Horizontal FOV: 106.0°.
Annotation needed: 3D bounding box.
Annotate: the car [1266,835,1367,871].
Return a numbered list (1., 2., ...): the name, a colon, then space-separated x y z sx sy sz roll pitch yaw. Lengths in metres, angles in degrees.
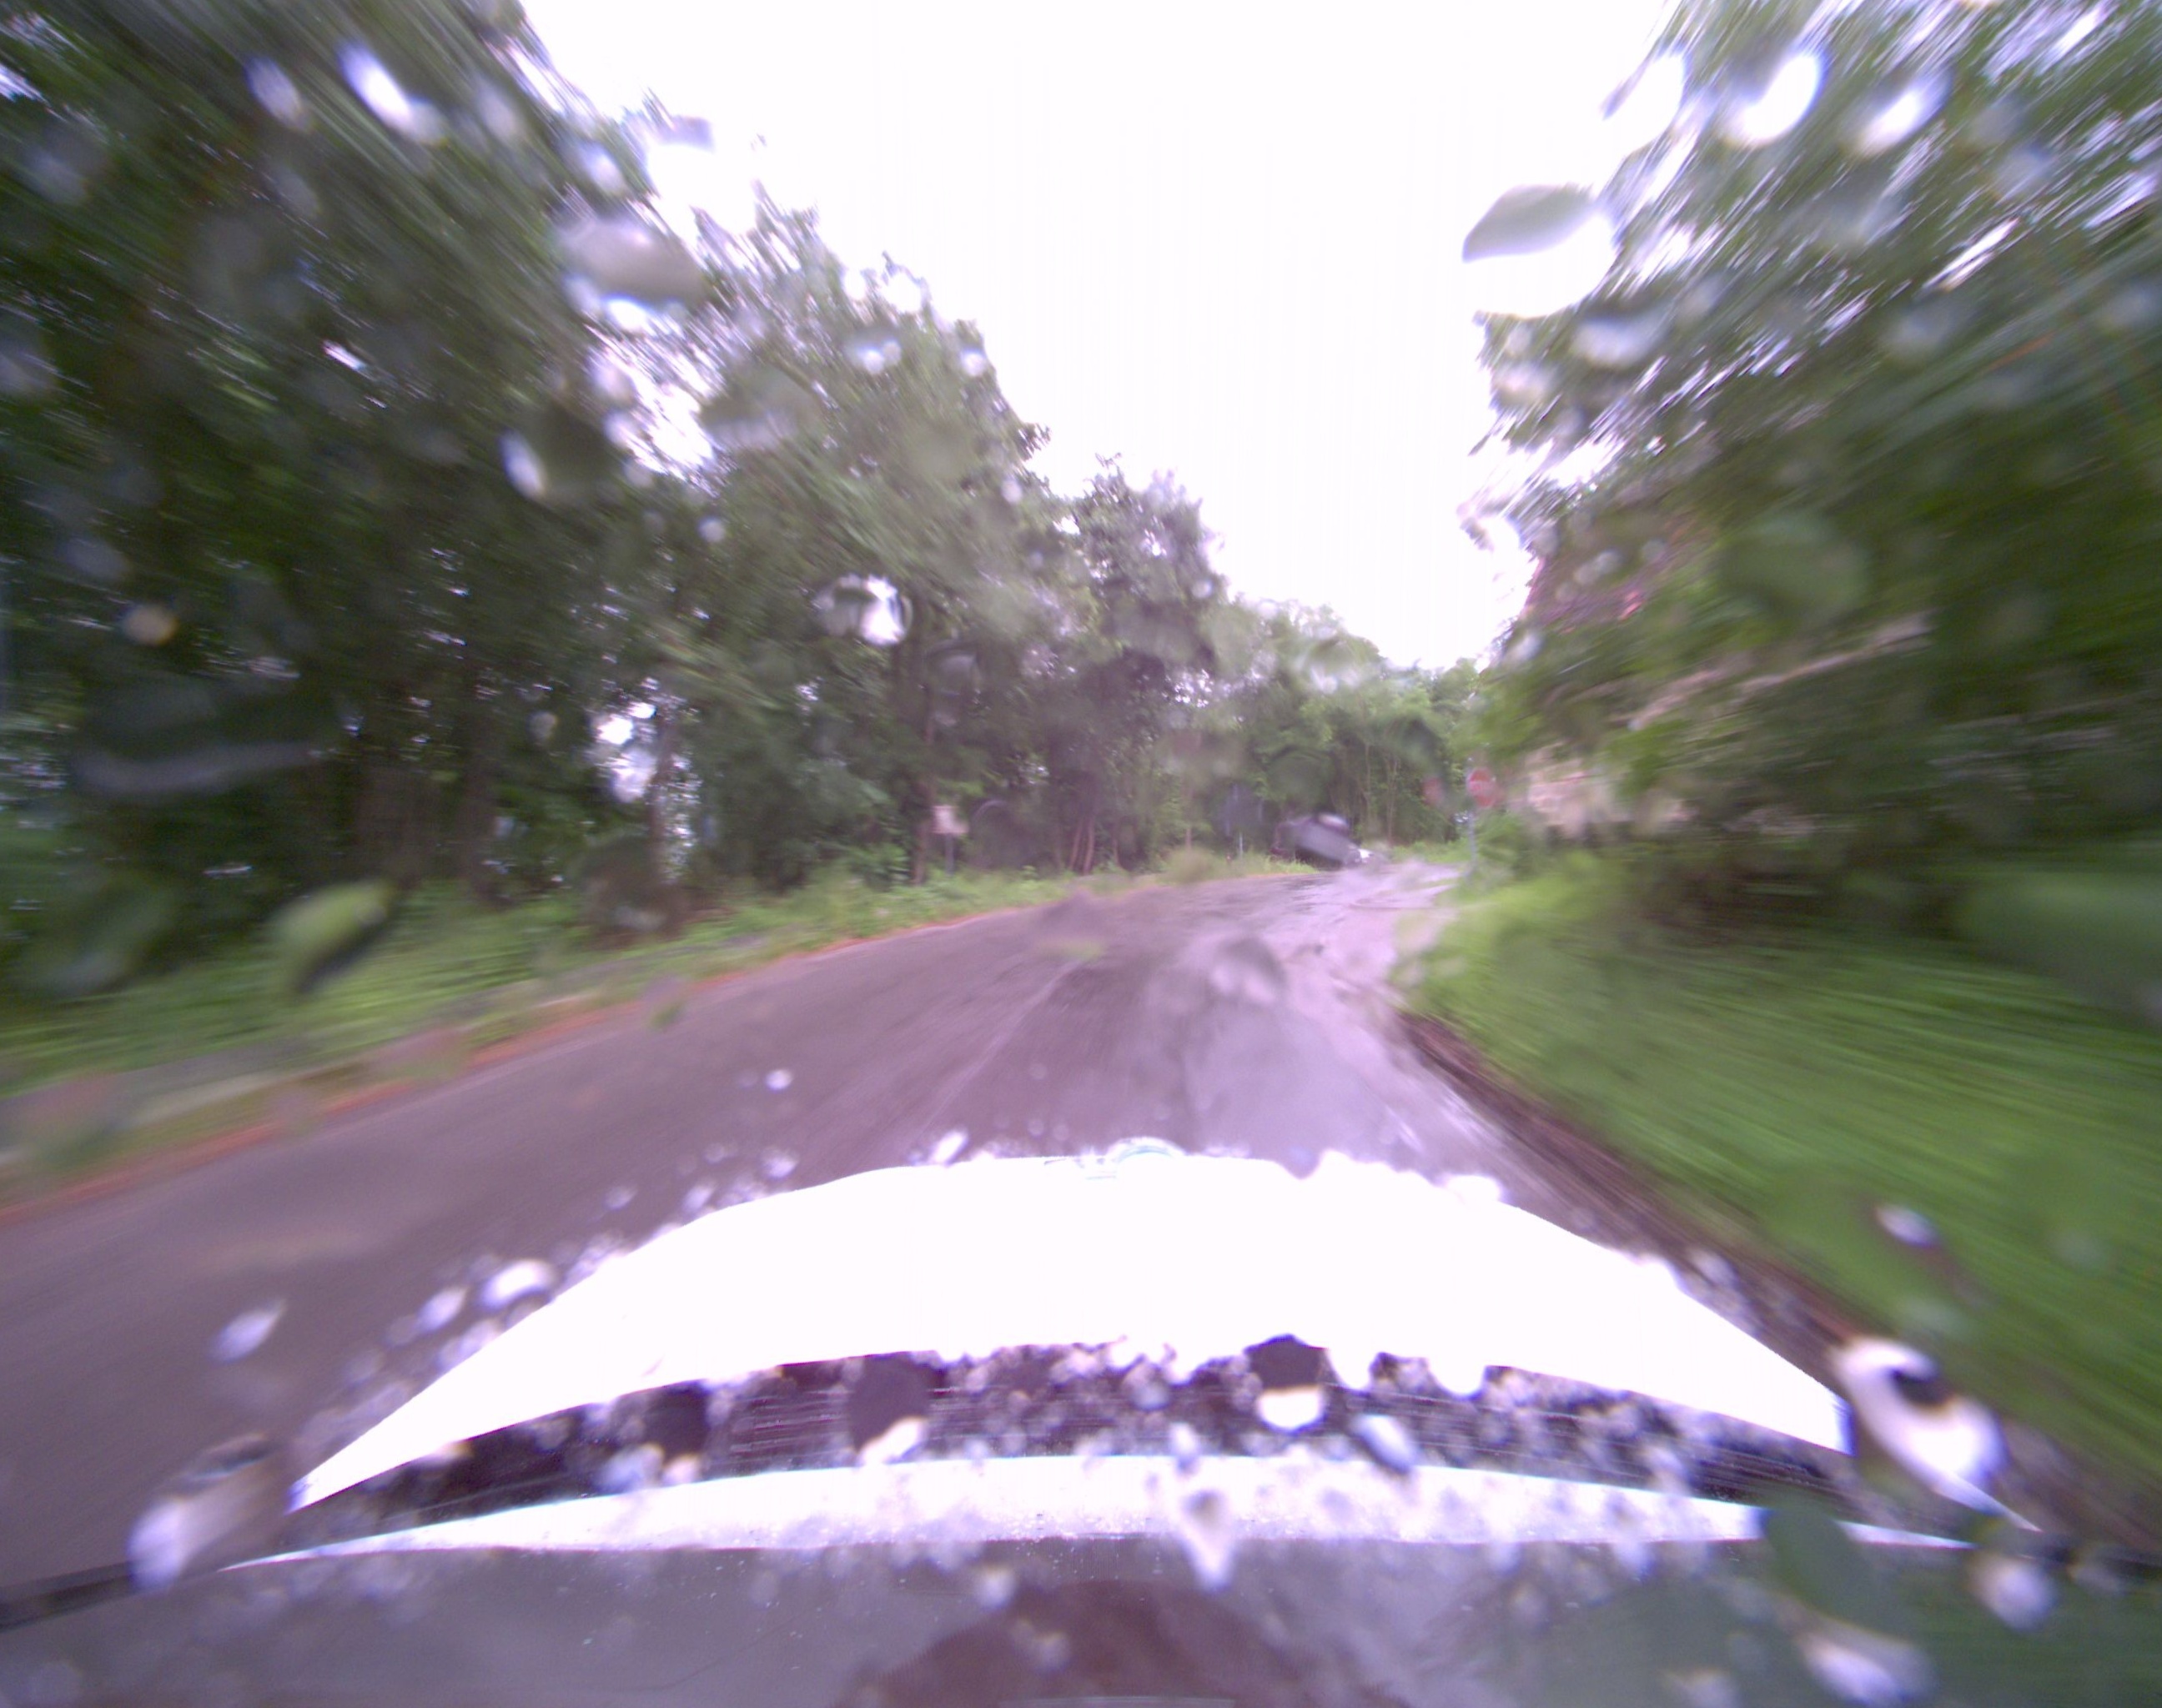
1. car: 12.405 -0.026 43.091 1.887 1.677 4.782 -4 1 -42

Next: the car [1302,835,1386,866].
1. car: 14.595 -0.171 45.379 1.783 1.554 4.100 -4 1 -41
